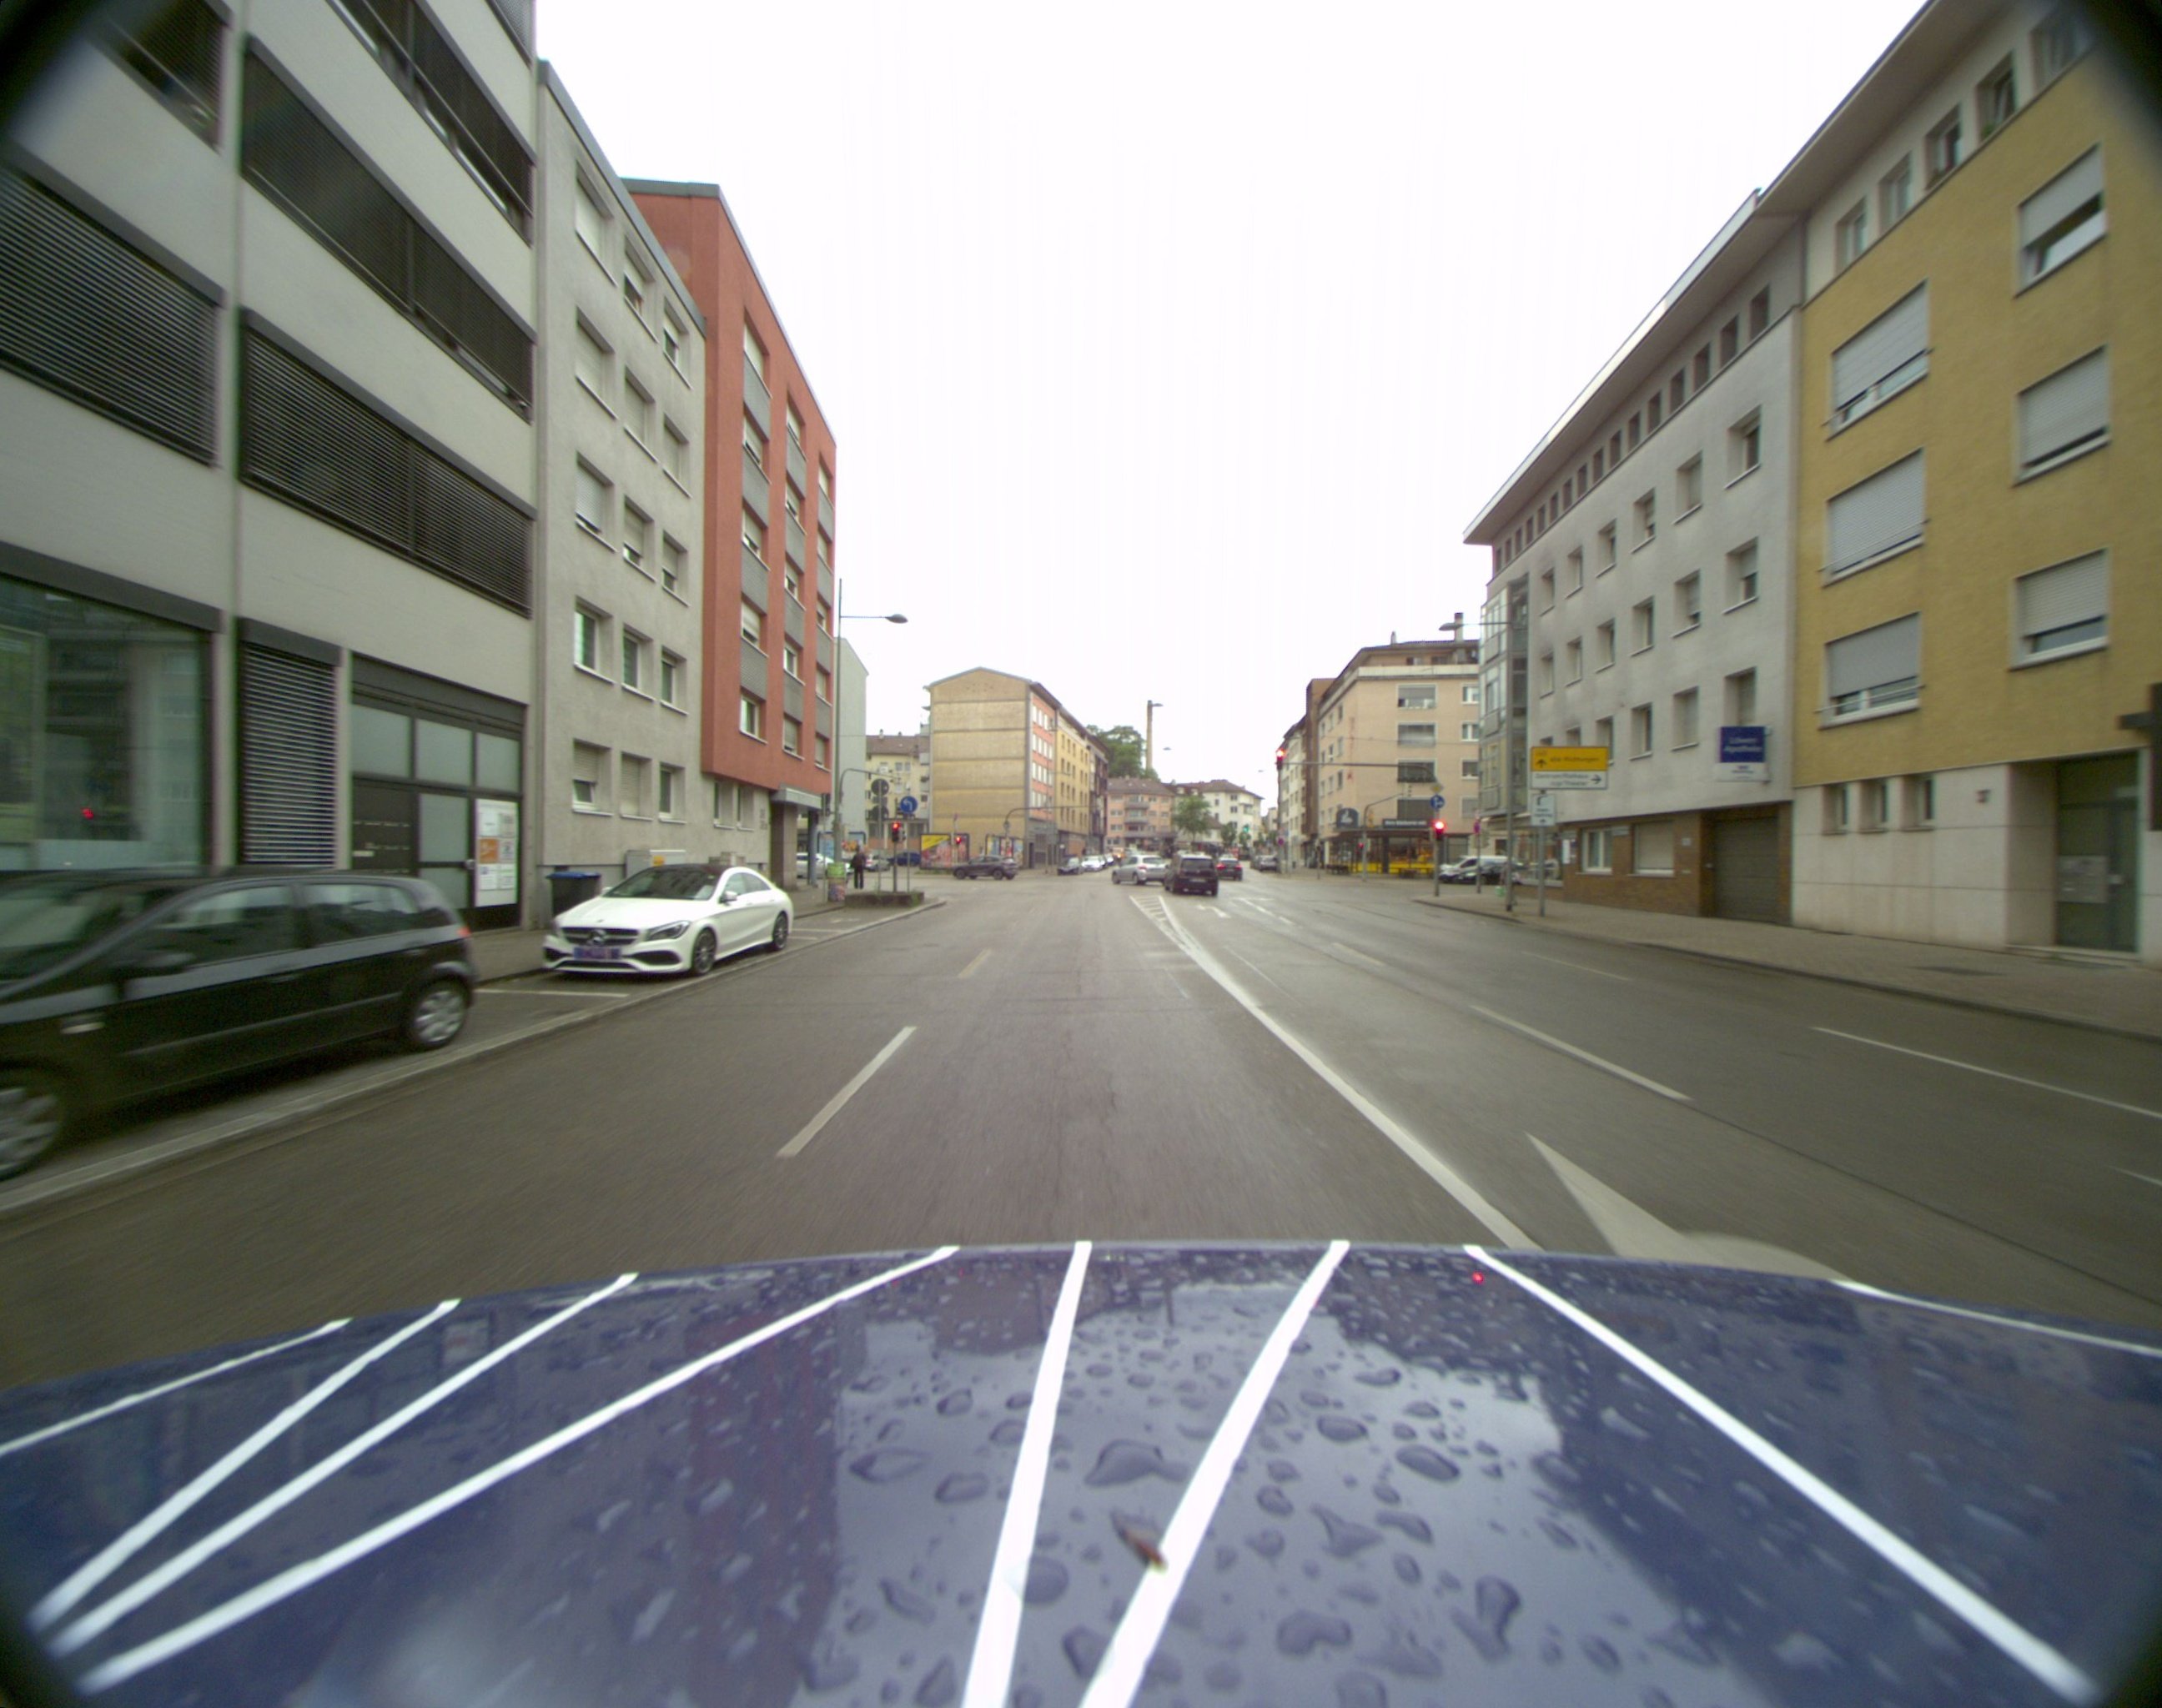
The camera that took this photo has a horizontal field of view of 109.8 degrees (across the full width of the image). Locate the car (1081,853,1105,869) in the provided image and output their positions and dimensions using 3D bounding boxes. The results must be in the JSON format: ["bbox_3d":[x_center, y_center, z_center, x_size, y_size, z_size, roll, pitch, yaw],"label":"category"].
[{"bbox_3d":[1.141,0.623,71.130,1.736,1.389,3.744,0,0,8],"label":"car"}]

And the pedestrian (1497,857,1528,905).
[{"bbox_3d":[14.730,0.913,25.957,0.784,1.578,0.674,-2,0,22],"label":"pedestrian"}]

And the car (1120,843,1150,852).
[{"bbox_3d":[8.708,-1.042,122.879,2.038,1.522,4.894,0,0,-40],"label":"car"}]

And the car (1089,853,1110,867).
[{"bbox_3d":[2.001,0.576,79.203,1.736,1.389,3.744,0,0,8],"label":"car"}]

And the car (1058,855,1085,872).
[{"bbox_3d":[-0.757,0.807,64.090,1.736,1.389,3.744,0,0,8],"label":"car"}]

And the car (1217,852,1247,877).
[{"bbox_3d":[9.972,0.690,50.514,1.747,1.586,4.002,0,0,8],"label":"car"}]

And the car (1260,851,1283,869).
[{"bbox_3d":[17.982,0.544,71.793,1.833,1.612,4.003,0,0,11],"label":"car"}]

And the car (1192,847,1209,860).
[{"bbox_3d":[13.721,-0.078,86.887,1.590,1.518,3.492,0,0,14],"label":"car"}]

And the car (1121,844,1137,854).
[{"bbox_3d":[6.543,-0.642,102.979,1.736,1.389,3.744,0,0,9],"label":"car"}]

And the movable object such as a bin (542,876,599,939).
[{"bbox_3d":[-9.122,0.948,13.594,0.681,1.097,0.514,0,1,-1],"label":"movable object such as a bin"}]

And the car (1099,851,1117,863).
[{"bbox_3d":[3.166,0.323,88.109,1.736,1.389,3.743,0,0,8],"label":"car"}]

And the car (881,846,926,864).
[{"bbox_3d":[-16.812,0.108,72.009,3.783,1.701,1.842,0,0,20],"label":"car"}]

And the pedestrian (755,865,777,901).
[{"bbox_3d":[-9.984,0.911,24.082,0.537,1.123,0.481,0,1,-6],"label":"pedestrian"}]

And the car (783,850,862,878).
[{"bbox_3d":[-15.227,0.568,44.810,3.995,1.612,1.837,0,0,4],"label":"car"}]

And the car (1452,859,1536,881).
[{"bbox_3d":[25.085,0.974,46.255,4.094,1.282,1.842,0,0,3],"label":"car"}]

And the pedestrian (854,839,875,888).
[{"bbox_3d":[-9.650,0.403,33.904,0.806,2.140,0.737,0,1,-23],"label":"pedestrian"}]

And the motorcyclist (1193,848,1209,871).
[{"bbox_3d":[6.771,0.315,42.992,0.871,1.320,0.493,0,1,9],"label":"motorcyclist"}]

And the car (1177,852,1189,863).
[{"bbox_3d":[16.997,0.545,126.677,1.669,1.761,4.004,1,0,11],"label":"car"}]

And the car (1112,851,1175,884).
[{"bbox_3d":[3.121,0.657,38.936,1.838,1.612,3.994,0,0,-17],"label":"car"}]

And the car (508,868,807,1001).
[{"bbox_3d":[-5.731,0.978,11.095,1.835,1.412,4.569,1,0,-1],"label":"car"}]

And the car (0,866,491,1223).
[{"bbox_3d":[-5.865,0.912,4.553,1.706,1.549,3.804,2,0,-1],"label":"car"}]

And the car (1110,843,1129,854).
[{"bbox_3d":[5.004,-0.653,98.137,1.736,1.389,3.745,0,0,13],"label":"car"}]

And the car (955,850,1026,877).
[{"bbox_3d":[-5.629,0.597,47.333,3.991,1.612,1.839,0,0,18],"label":"car"}]

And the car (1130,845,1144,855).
[{"bbox_3d":[8.154,-0.544,110.819,1.736,1.389,3.744,0,0,8],"label":"car"}]

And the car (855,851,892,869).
[{"bbox_3d":[-16.920,0.485,62.081,1.737,1.448,3.742,0,0,5],"label":"car"}]

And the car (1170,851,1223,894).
[{"bbox_3d":[4.692,0.711,31.333,1.878,1.674,4.001,0,0,4],"label":"car"}]

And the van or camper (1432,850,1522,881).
[{"bbox_3d":[27.187,0.787,52.307,5.023,2.002,2.000,0,2,7],"label":"van or camper"}]
